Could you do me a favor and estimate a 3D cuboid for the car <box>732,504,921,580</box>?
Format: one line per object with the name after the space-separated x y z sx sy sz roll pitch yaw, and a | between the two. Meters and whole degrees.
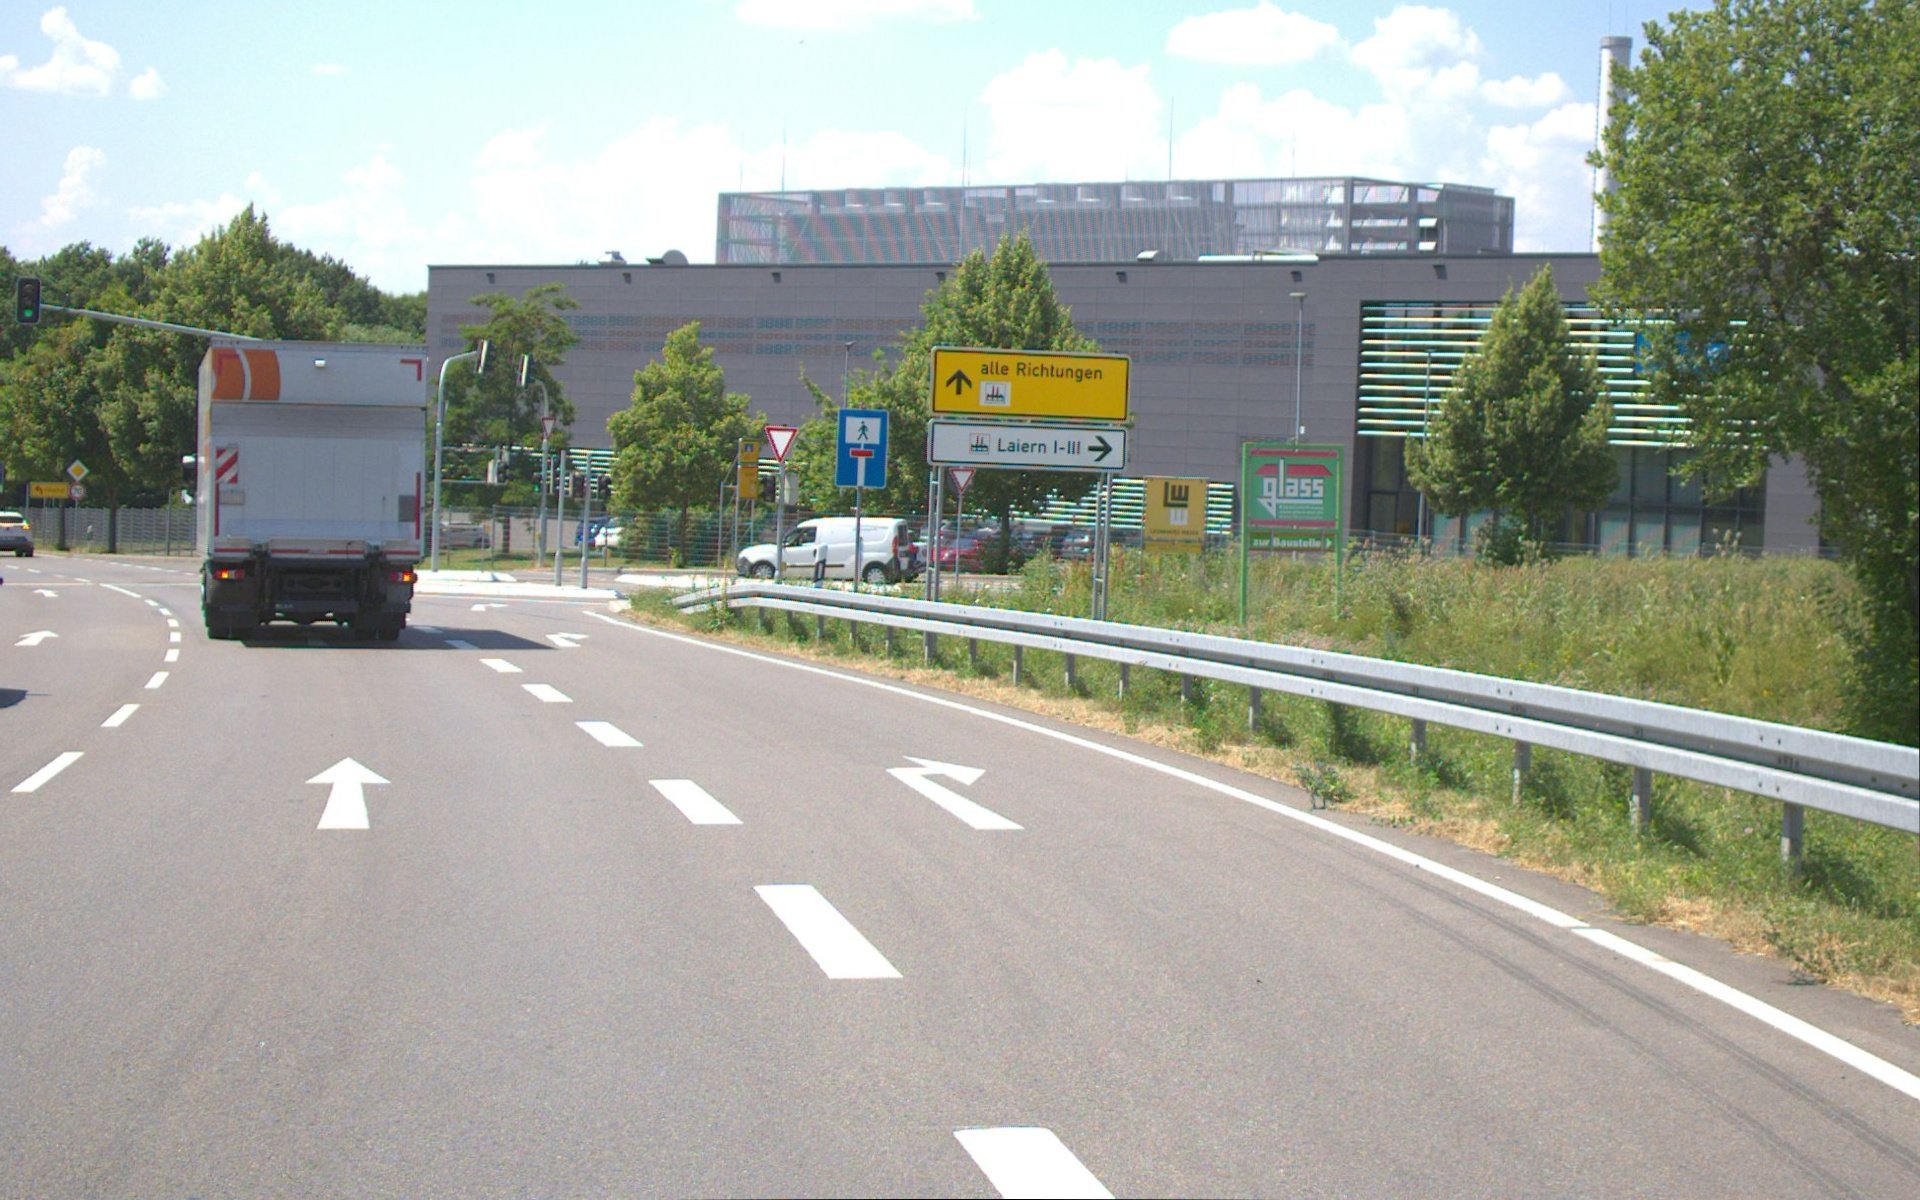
-3.596 -1.578 93.237 4.747 1.925 2.153 1 1 10 | car

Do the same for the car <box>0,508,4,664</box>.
-9.014 -0.001 28.729 1.652 1.488 4.209 1 3 -12 | car

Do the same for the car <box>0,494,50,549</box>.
-31.929 -2.682 115.375 1.943 1.658 4.001 4 1 -25 | car

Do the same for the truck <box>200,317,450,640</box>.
-8.343 -1.589 44.766 2.803 3.698 9.111 1 2 -11 | truck
